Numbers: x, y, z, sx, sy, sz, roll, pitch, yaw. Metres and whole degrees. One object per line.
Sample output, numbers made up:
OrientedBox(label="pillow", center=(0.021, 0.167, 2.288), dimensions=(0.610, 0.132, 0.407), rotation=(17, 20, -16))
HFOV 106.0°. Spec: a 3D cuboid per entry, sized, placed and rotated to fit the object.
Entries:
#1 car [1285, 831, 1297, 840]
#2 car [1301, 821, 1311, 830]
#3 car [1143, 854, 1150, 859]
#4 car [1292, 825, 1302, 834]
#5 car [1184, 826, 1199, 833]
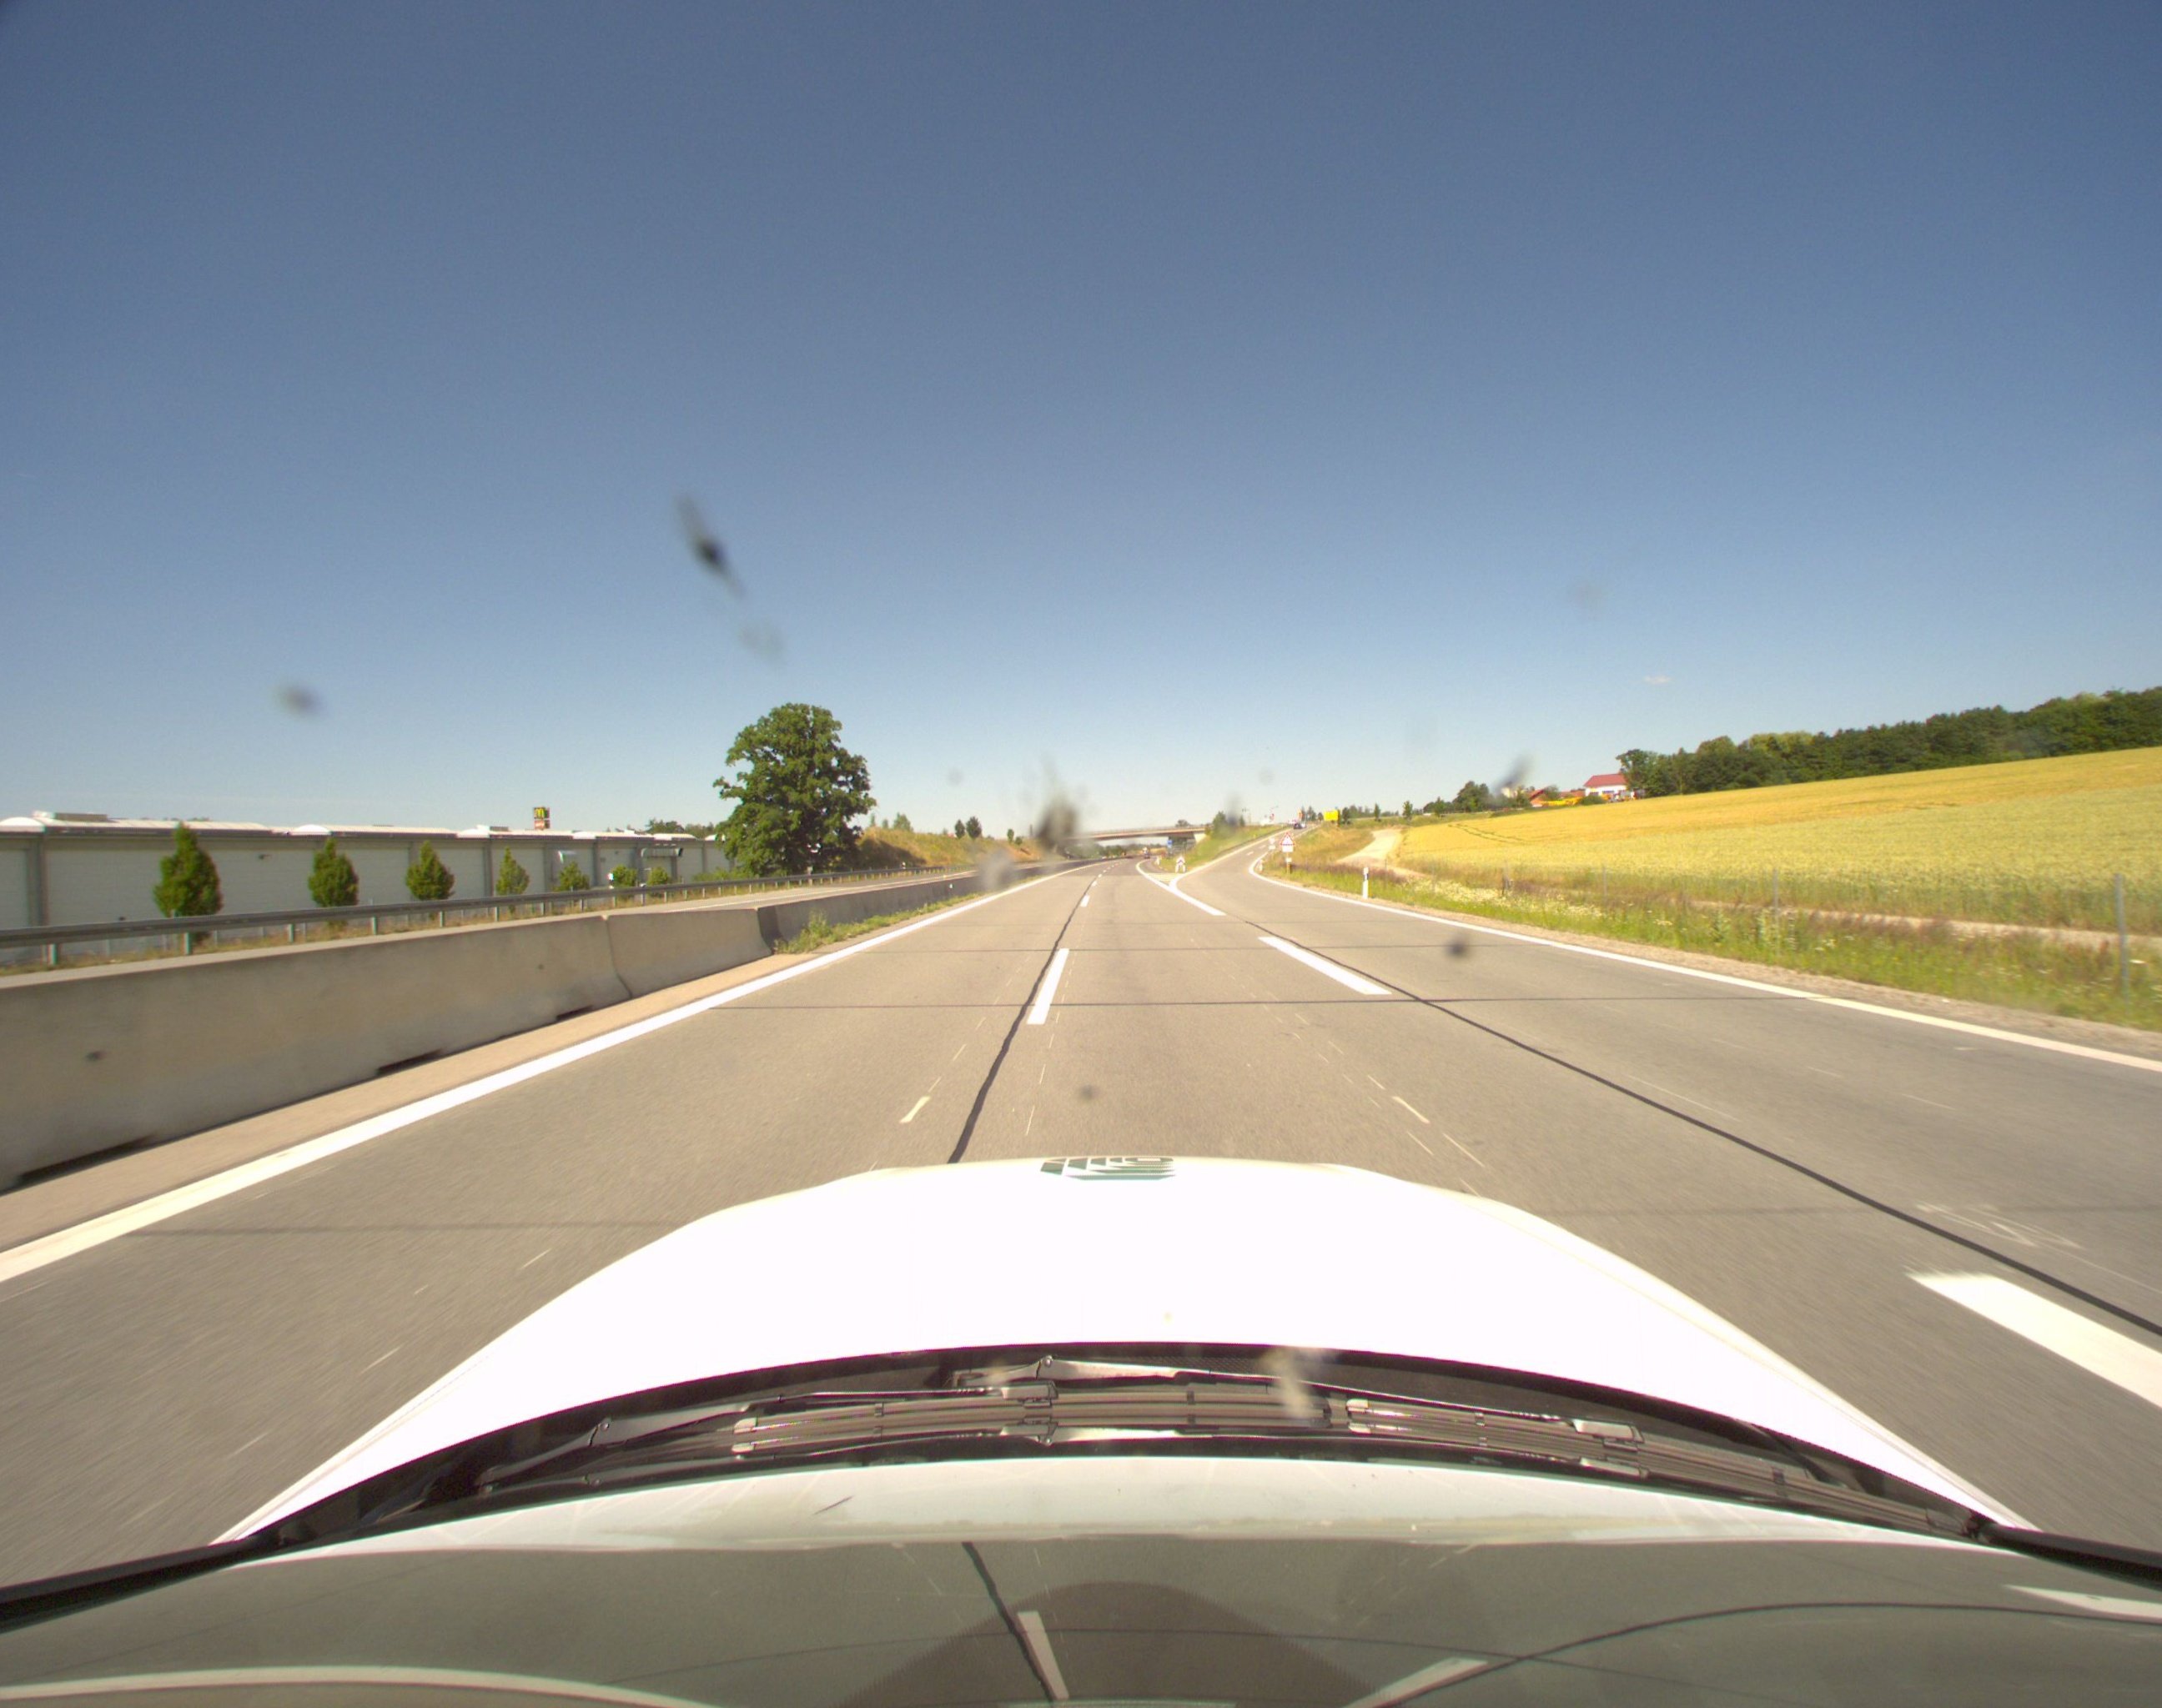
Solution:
OrientedBox(label="car", center=(41.033, -3.555, 159.214), dimensions=(1.977, 1.618, 4.019), rotation=(-3, 0, 19))
OrientedBox(label="car", center=(57.666, -7.261, 208.776), dimensions=(1.977, 2.013, 4.019), rotation=(-3, 0, 19))
OrientedBox(label="car", center=(20.293, 0.862, 250.613), dimensions=(1.985, 1.420, 4.003), rotation=(-3, 0, 3))
OrientedBox(label="car", center=(53.813, -6.086, 203.178), dimensions=(1.977, 2.013, 4.019), rotation=(-3, 0, 19))
OrientedBox(label="car", center=(34.720, -7.627, 255.354), dimensions=(4.236, 2.021, 1.999), rotation=(-3, 1, -2))
